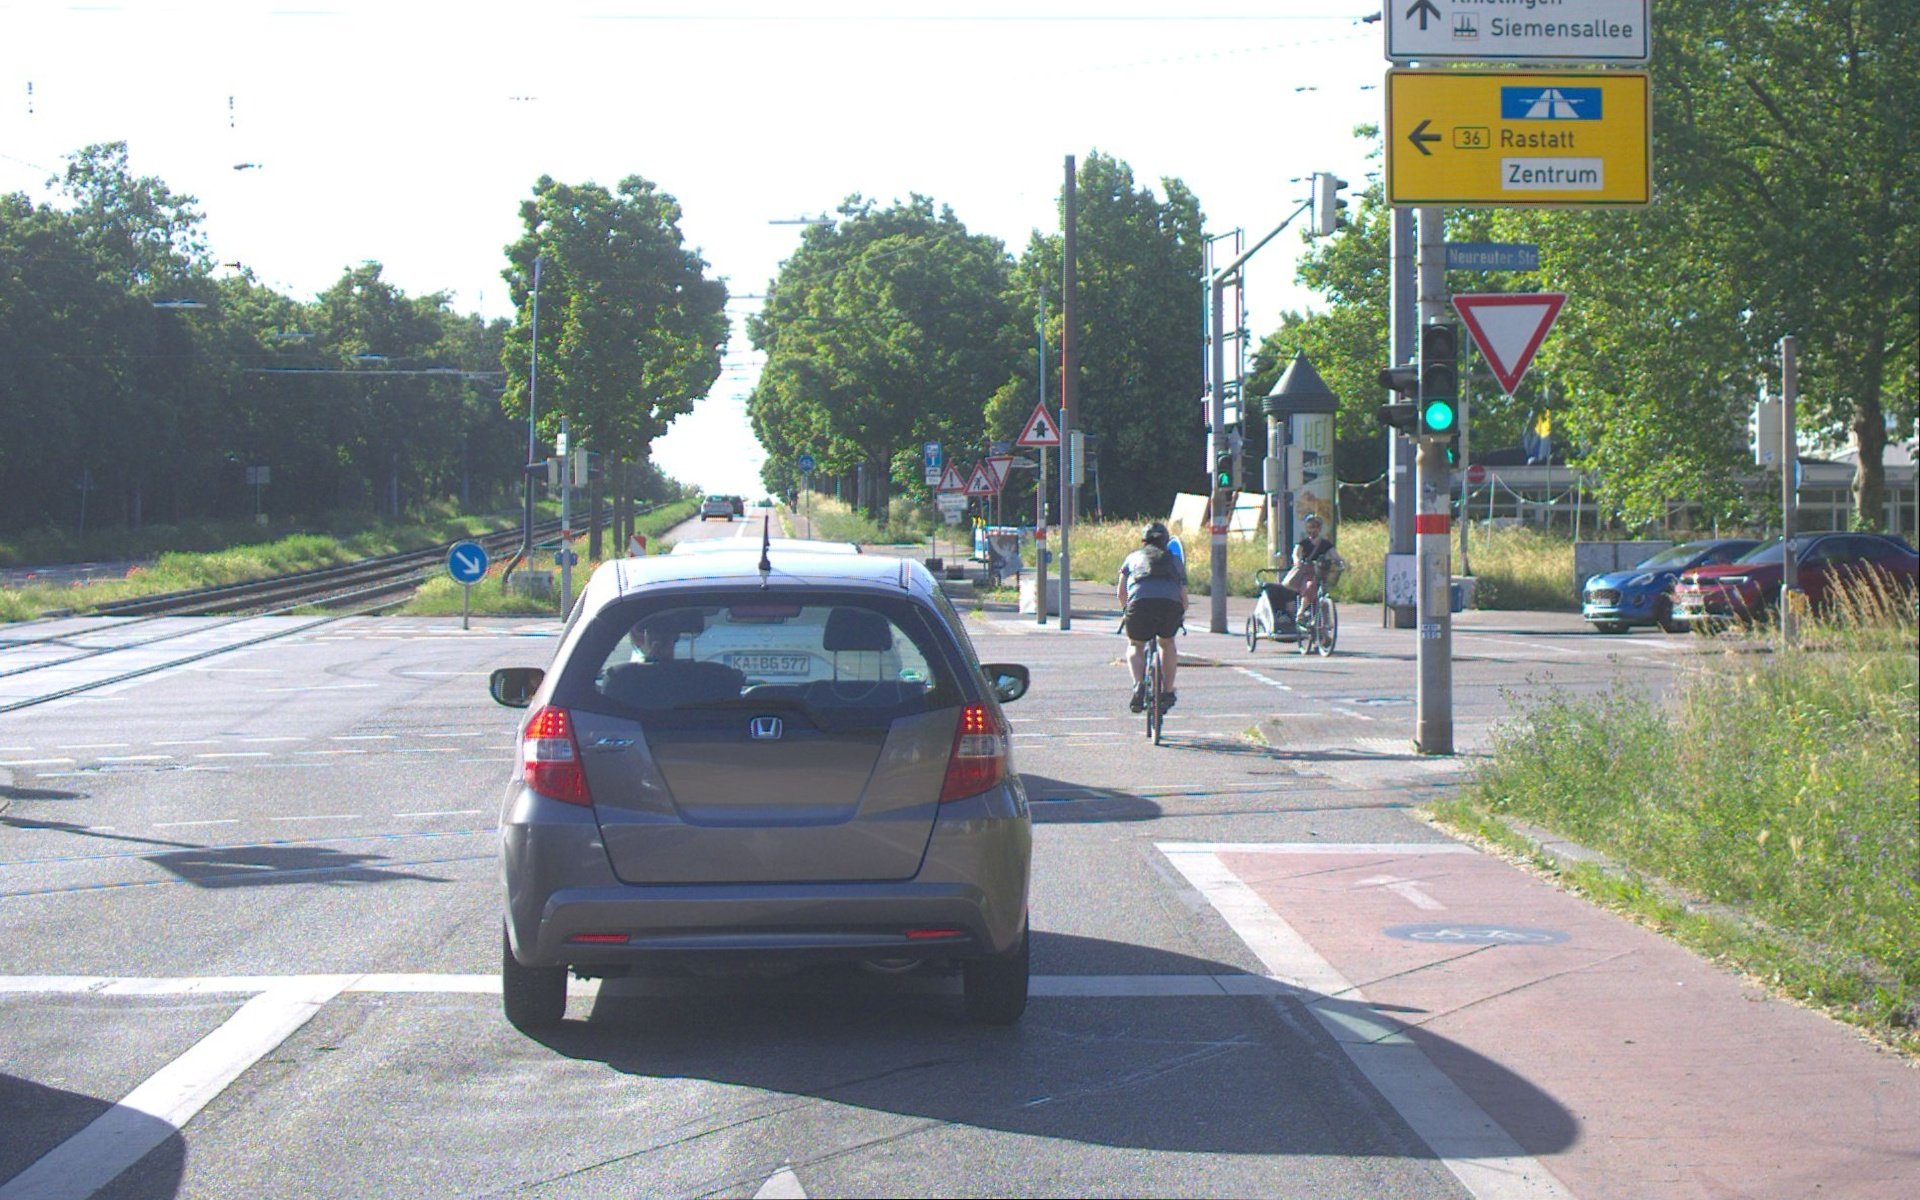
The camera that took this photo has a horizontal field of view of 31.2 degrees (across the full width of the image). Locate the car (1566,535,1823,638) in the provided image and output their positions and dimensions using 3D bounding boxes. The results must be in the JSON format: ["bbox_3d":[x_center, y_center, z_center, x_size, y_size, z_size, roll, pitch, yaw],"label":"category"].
[{"bbox_3d":[11.784,-0.237,55.117,3.847,1.595,1.713,-1,1,-29],"label":"car"}]

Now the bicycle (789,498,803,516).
[{"bbox_3d":[-10.091,-5.701,211.688,0.817,1.044,2.506,1,0,-2],"label":"bicycle"}]

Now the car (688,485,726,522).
[{"bbox_3d":[-14.230,-5.426,193.557,1.993,2.007,4.000,0,1,-2],"label":"car"}]

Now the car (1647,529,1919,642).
[{"bbox_3d":[12.399,-0.235,50.927,4.076,1.595,1.817,-1,1,-25],"label":"car"}]

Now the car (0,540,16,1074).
[{"bbox_3d":[-3.597,0.627,7.735,1.877,1.522,4.421,0,1,-2],"label":"car"}]

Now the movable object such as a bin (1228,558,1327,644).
[{"bbox_3d":[4.010,0.005,43.488,0.908,1.065,1.317,0,1,-11],"label":"movable object such as a bin"}]

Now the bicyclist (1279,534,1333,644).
[{"bbox_3d":[4.242,-0.136,42.170,0.509,1.336,0.565,0,1,-10],"label":"bicyclist"}]

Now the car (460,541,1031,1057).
[{"bbox_3d":[-0.657,0.559,11.969,1.670,1.510,3.674,0,1,-1],"label":"car"}]

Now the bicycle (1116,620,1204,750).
[{"bbox_3d":[1.532,0.635,26.547,0.524,0.920,2.089,0,1,-1],"label":"bicycle"}]

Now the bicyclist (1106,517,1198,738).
[{"bbox_3d":[1.479,0.205,26.587,0.615,1.674,0.933,0,1,-2],"label":"bicyclist"}]

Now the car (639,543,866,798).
[{"bbox_3d":[-1.307,0.399,22.204,1.351,1.522,3.124,0,1,-2],"label":"car"}]

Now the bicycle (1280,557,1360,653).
[{"bbox_3d":[4.334,0.050,41.498,0.466,1.115,1.821,0,1,-10],"label":"bicycle"}]

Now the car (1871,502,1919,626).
[{"bbox_3d":[15.201,-0.528,48.417,4.480,1.705,1.921,-1,1,-29],"label":"car"}]

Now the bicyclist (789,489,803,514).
[{"bbox_3d":[-10.077,-6.075,211.706,0.817,1.519,0.966,1,0,-2],"label":"bicyclist"}]
